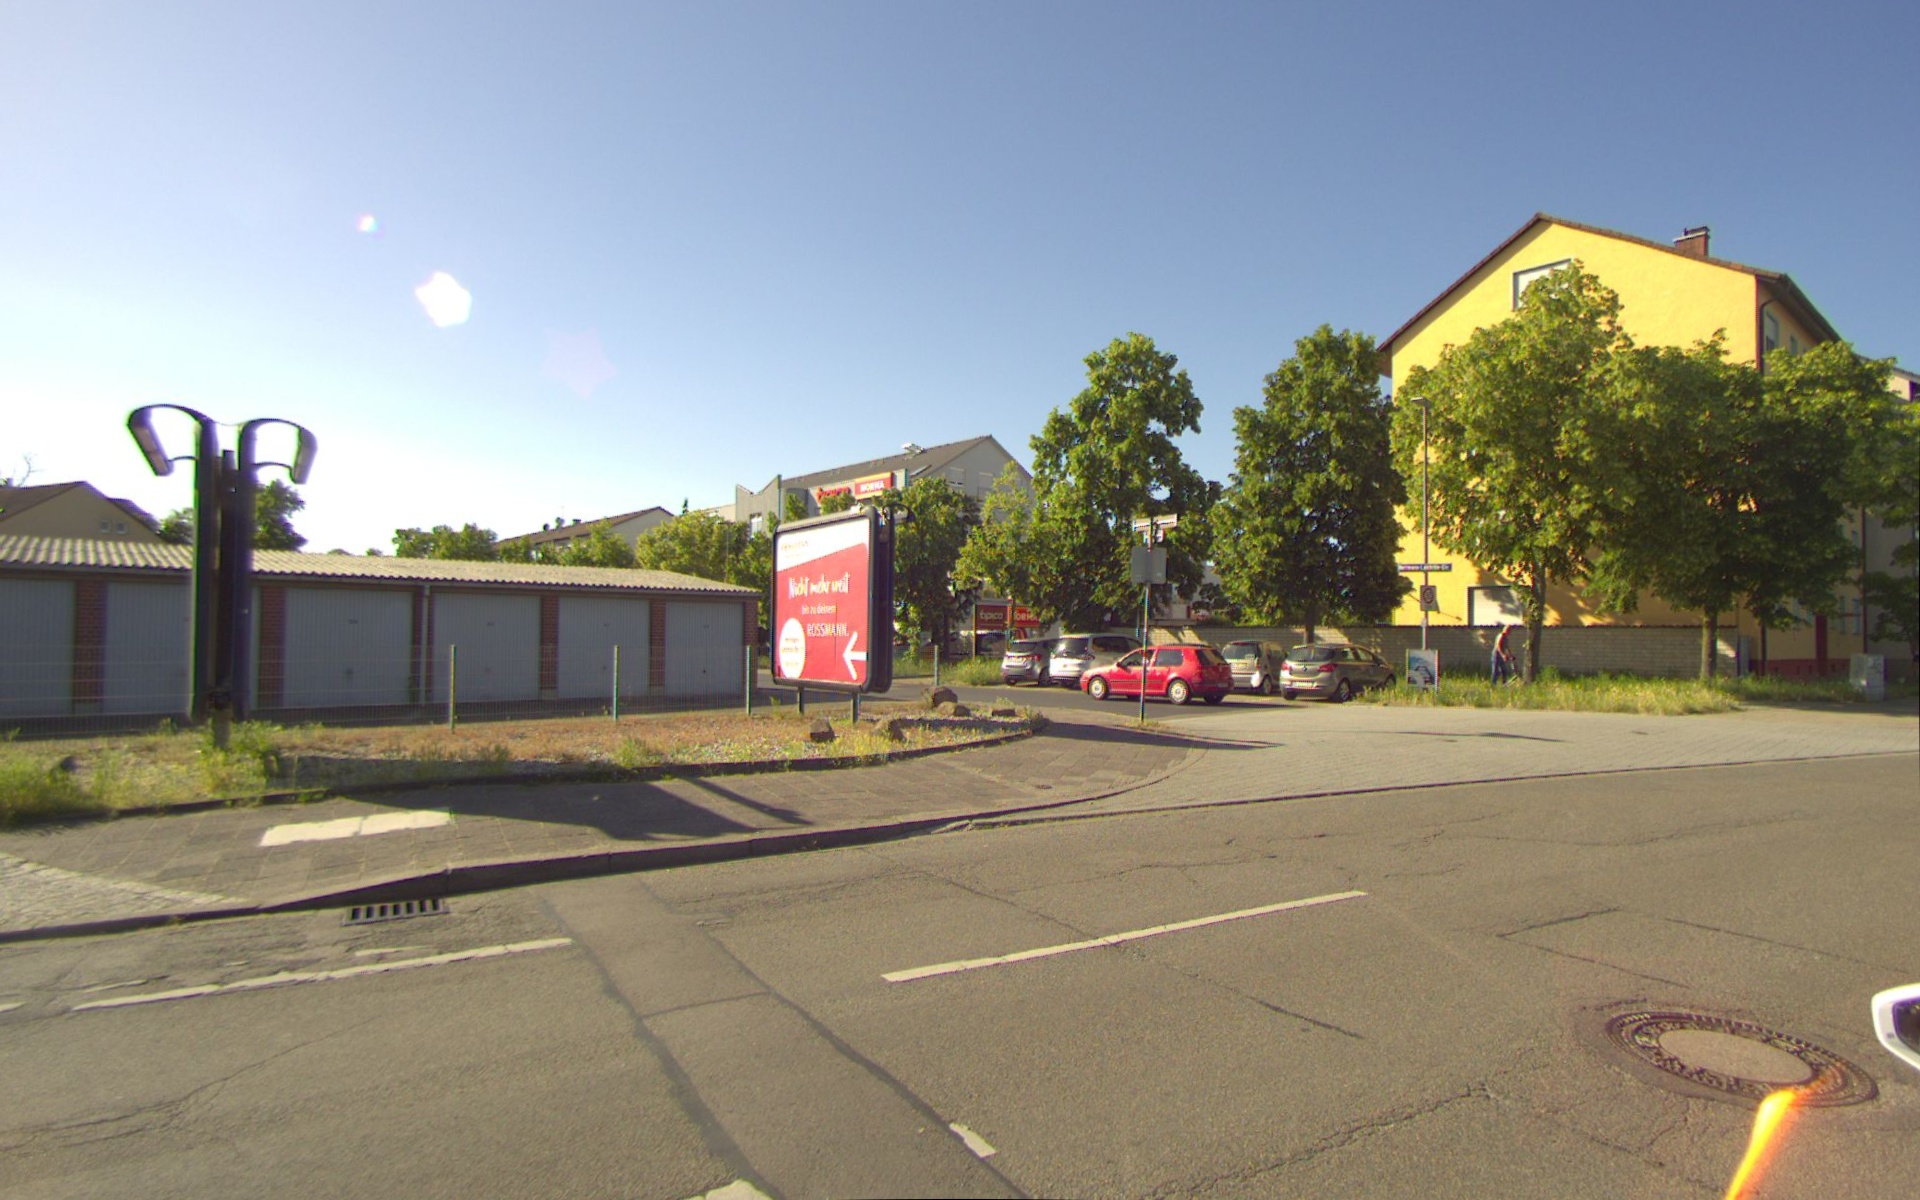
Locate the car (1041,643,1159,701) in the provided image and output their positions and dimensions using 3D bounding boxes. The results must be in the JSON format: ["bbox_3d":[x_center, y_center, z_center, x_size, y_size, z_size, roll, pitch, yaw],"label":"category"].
[{"bbox_3d":[4.551,2.267,32.361,3.852,1.701,1.683,1,-3,-42],"label":"car"}]

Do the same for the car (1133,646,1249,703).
[{"bbox_3d":[7.134,2.246,30.860,1.680,1.483,3.857,-3,-1,44],"label":"car"}]

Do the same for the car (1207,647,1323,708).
[{"bbox_3d":[9.034,2.215,29.597,1.680,1.643,3.857,-3,-3,44],"label":"car"}]

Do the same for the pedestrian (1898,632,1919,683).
[{"bbox_3d":[33.461,2.018,35.163,0.712,1.740,0.682,4,-5,-30],"label":"pedestrian"}]

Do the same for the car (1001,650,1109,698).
[{"bbox_3d":[3.319,2.508,34.605,3.852,1.525,1.489,1,-3,-42],"label":"car"}]

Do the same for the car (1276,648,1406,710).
[{"bbox_3d":[10.163,2.049,26.683,3.854,1.483,1.713,1,-3,-43],"label":"car"}]

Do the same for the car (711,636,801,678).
[{"bbox_3d":[-10.081,2.798,49.703,3.953,1.951,1.833,0,-3,-31],"label":"car"}]

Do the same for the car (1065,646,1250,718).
[{"bbox_3d":[5.025,2.034,25.910,4.333,1.589,2.006,-1,-2,44],"label":"car"}]

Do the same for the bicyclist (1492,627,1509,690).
[{"bbox_3d":[14.734,1.597,27.365,0.382,1.707,0.382,-1,-4,29],"label":"bicyclist"}]

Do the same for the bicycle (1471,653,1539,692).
[{"bbox_3d":[14.794,1.971,27.301,1.593,1.024,0.406,-1,-3,29],"label":"bicycle"}]
